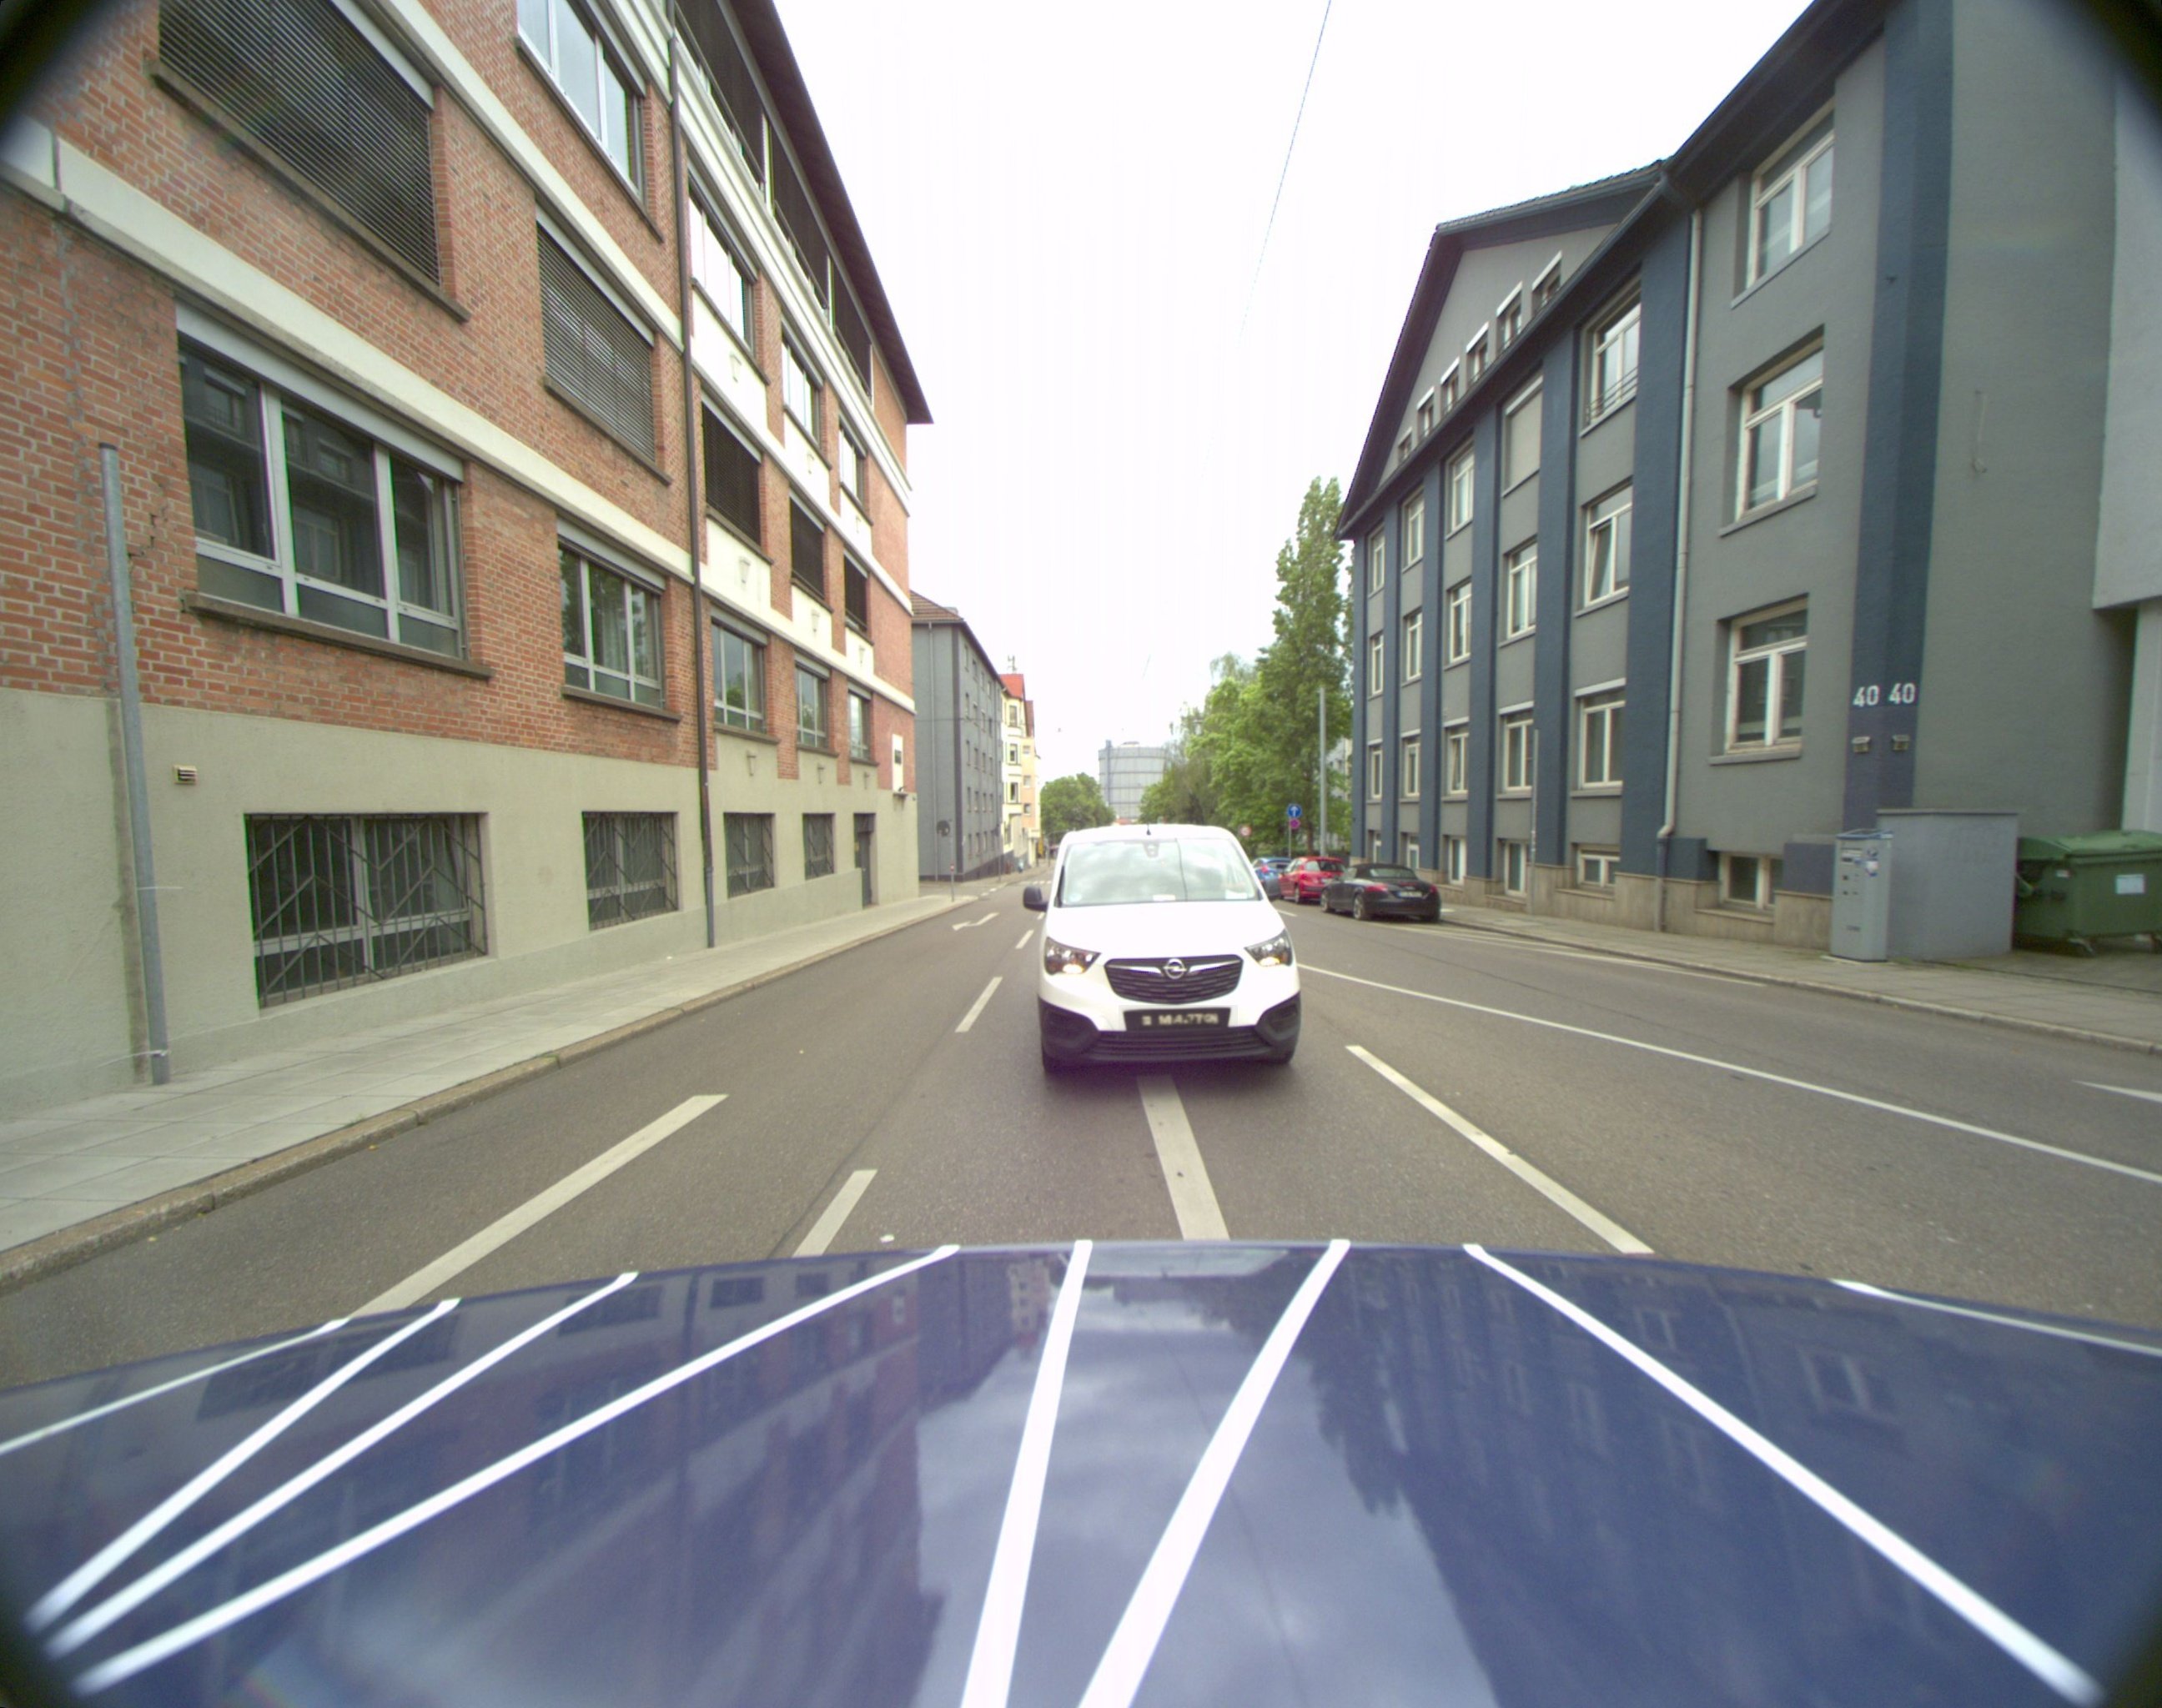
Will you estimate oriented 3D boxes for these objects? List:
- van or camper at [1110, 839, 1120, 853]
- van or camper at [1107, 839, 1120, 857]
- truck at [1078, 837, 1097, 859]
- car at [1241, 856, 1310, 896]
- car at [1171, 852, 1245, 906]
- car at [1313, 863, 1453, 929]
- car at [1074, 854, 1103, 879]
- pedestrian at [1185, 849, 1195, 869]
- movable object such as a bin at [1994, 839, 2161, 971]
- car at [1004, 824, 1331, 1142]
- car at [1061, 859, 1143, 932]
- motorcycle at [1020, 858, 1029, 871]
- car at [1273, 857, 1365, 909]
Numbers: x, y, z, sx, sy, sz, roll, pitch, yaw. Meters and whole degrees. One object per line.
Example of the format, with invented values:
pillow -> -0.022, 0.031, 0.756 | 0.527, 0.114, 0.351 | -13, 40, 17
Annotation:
van or camper -> 6.699, -1.540, 149.780 | 1.914, 2.754, 5.925 | 1, 0, 2
van or camper -> 5.161, -1.009, 119.931 | 1.914, 2.754, 5.925 | 1, 0, 2
truck -> 1.145, -1.038, 129.115 | 2.980, 3.394, 9.358 | -2, 0, 1
car -> 7.555, 0.819, 29.813 | 1.724, 1.445, 3.727 | 1, 0, 0
car -> 4.046, 0.746, 24.707 | 1.708, 1.578, 3.936 | 2, 0, 0
car -> 7.177, 0.944, 18.517 | 1.724, 1.319, 4.041 | 2, 0, -1
car -> 0.509, 0.751, 48.205 | 1.724, 1.486, 3.727 | 1, 0, 2
pedestrian -> 9.982, 0.461, 69.740 | 0.746, 1.839, 0.776 | -1, 1, 2
movable object such as a bin -> 12.097, 0.586, 9.114 | 1.267, 1.448, 0.784 | -3, 2, 4
car -> 0.550, 0.748, 6.912 | 1.840, 1.797, 4.939 | -2, 0, 1
car -> 0.503, 0.886, 17.929 | 1.724, 1.486, 3.727 | 1, 0, 2
motorcycle -> -5.069, 0.910, 68.563 | 0.566, 1.105, 1.653 | 4, 0, 2
car -> 7.491, 0.855, 24.319 | 1.819, 1.465, 3.869 | 2, 0, 2
